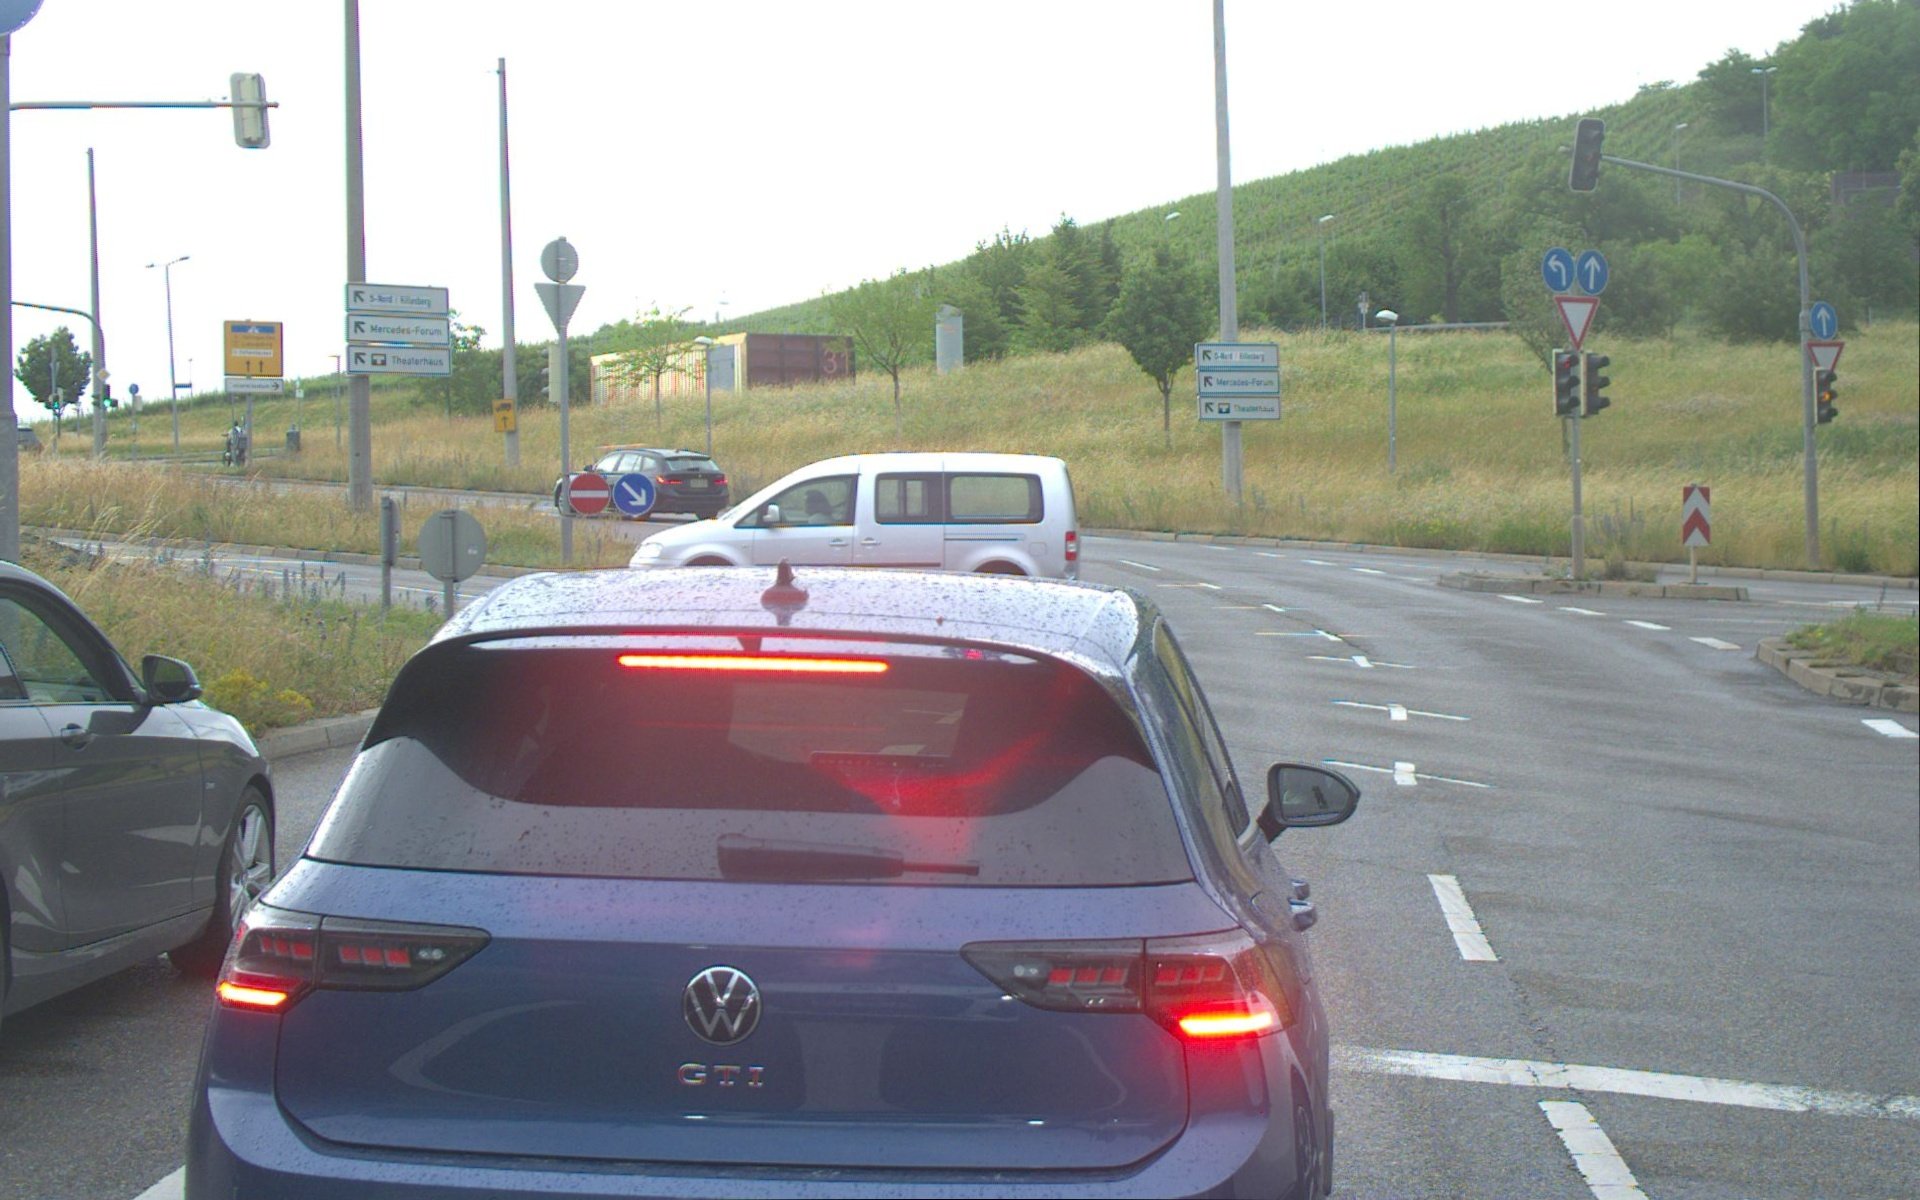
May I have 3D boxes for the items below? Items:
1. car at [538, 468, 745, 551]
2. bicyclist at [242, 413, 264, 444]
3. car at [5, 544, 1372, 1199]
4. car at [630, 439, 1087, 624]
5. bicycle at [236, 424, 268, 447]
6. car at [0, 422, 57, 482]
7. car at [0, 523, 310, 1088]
[{"bbox_3d":[-6.557,-1.874,70.279,1.994,1.612,4.851,0,2,-36],"label":"car"},{"bbox_3d":[-24.668,-6.000,119.935,0.523,1.043,0.580,3,1,-34],"label":"bicyclist"},{"bbox_3d":[-0.219,0.630,6.457,1.825,1.455,3.808,0,1,5],"label":"car"},{"bbox_3d":[-1.079,-0.708,36.345,4.682,1.844,1.822,1,0,-2],"label":"car"},{"bbox_3d":[-24.719,-5.738,120.001,0.518,0.772,1.621,1,1,-33],"label":"bicycle"},{"bbox_3d":[-28.591,-4.369,101.873,1.994,1.631,4.420,1,0,-37],"label":"car"},{"bbox_3d":[-3.251,0.512,9.764,1.703,1.454,4.114,0,1,5],"label":"car"}]
